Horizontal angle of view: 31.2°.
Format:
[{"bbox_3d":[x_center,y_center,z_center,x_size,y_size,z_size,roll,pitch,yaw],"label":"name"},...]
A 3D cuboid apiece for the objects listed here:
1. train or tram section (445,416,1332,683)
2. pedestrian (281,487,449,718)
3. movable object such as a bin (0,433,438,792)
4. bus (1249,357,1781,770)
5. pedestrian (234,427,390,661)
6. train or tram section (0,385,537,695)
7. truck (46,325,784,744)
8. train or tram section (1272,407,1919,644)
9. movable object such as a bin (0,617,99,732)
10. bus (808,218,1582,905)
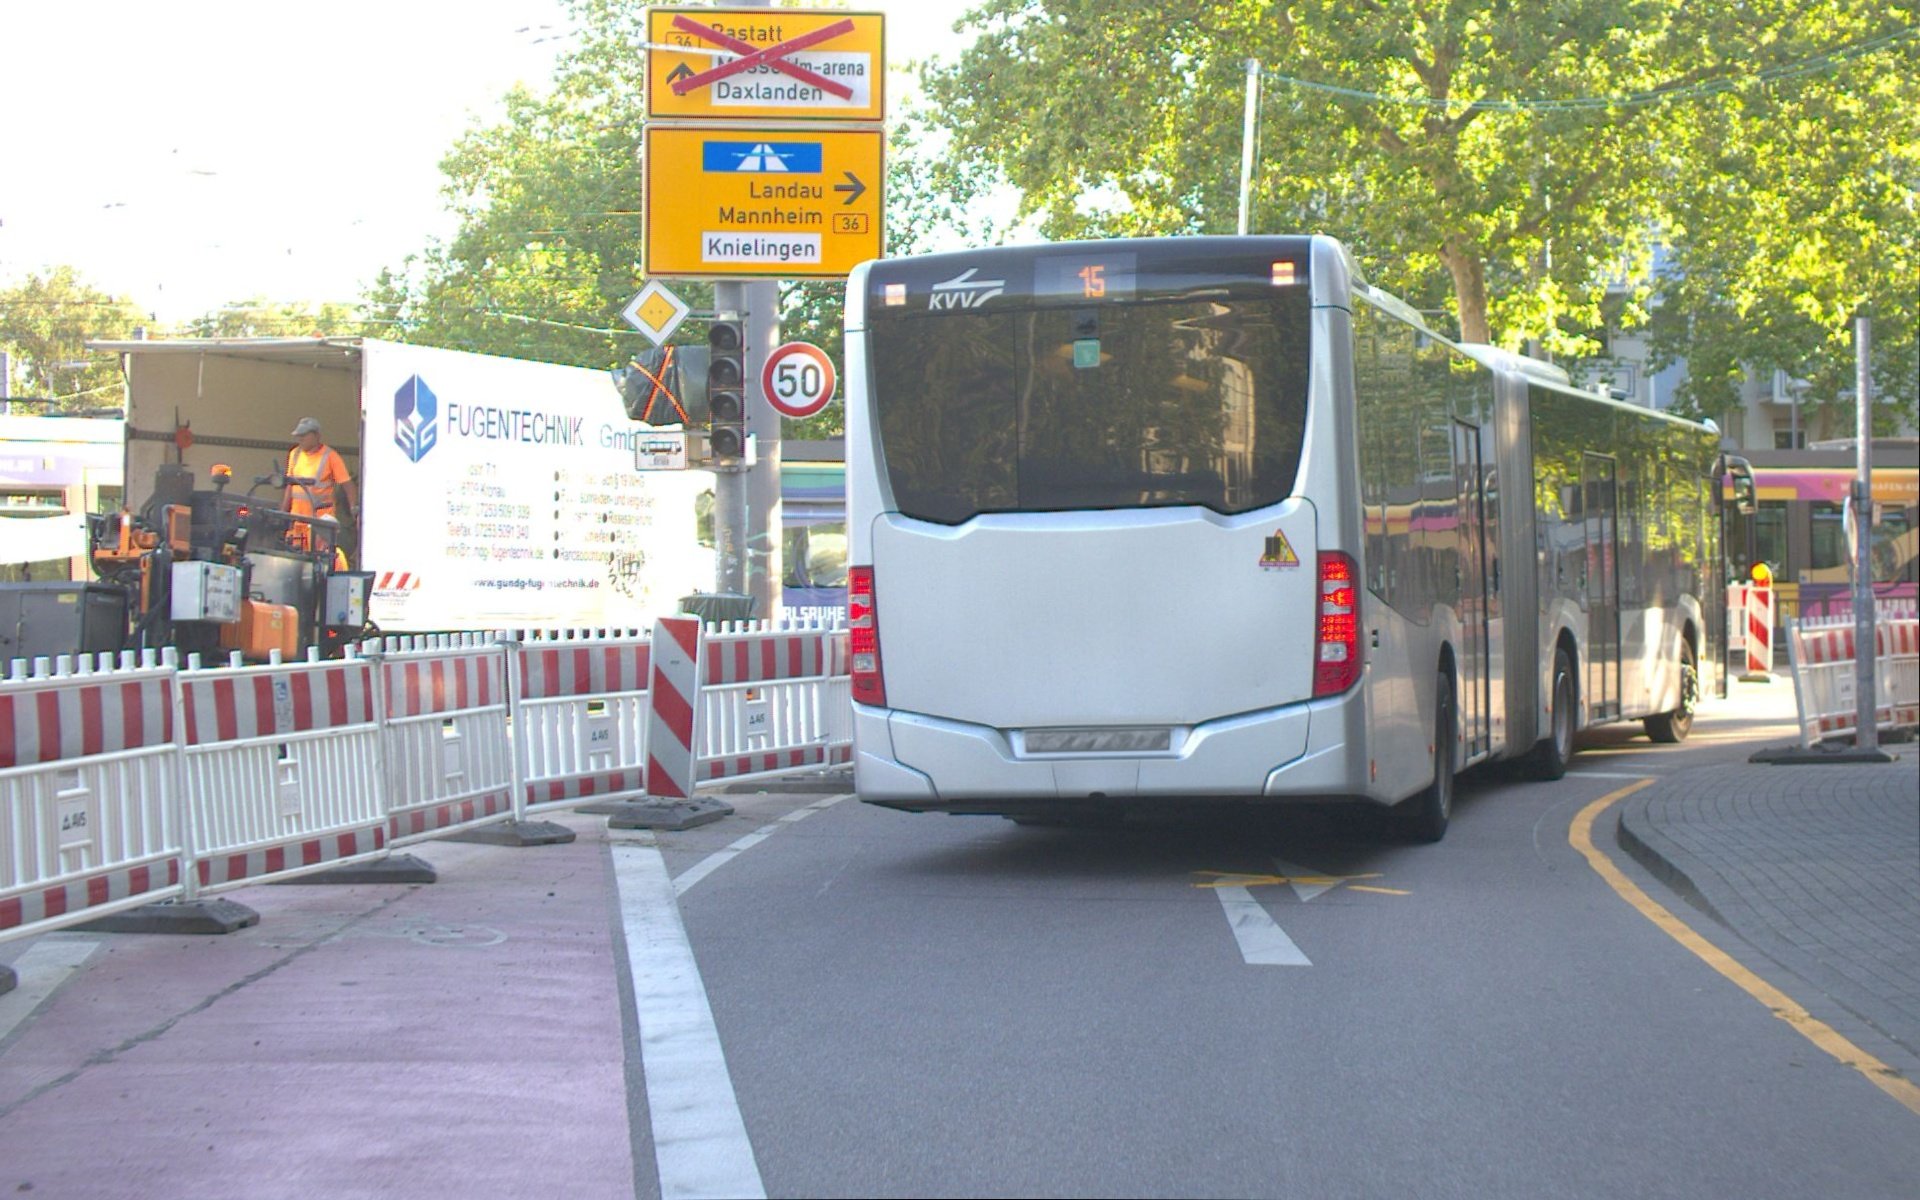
[{"bbox_3d":[-0.845,-0.661,49.500,12.740,3.537,2.738,0,0,-25],"label":"train or tram section"},{"bbox_3d":[-4.711,0.012,27.280,0.973,1.792,1.069,0,1,13],"label":"pedestrian"},{"bbox_3d":[-5.930,0.019,24.321,1.996,2.249,5.202,2,1,22],"label":"movable object such as a bin"},{"bbox_3d":[5.188,-0.333,30.407,2.711,3.096,8.969,0,1,22],"label":"bus"},{"bbox_3d":[-5.654,-0.500,30.038,0.937,2.006,1.000,1,2,21],"label":"pedestrian"},{"bbox_3d":[-10.770,-0.687,41.616,2.855,3.521,13.368,0,0,36],"label":"train or tram section"},{"bbox_3d":[-4.955,-0.617,33.654,2.815,3.529,8.972,0,1,23],"label":"truck"},{"bbox_3d":[11.625,-1.093,53.148,13.286,3.507,2.650,0,0,-7],"label":"train or tram section"},{"bbox_3d":[-7.749,0.603,28.469,0.932,0.914,1.420,0,0,-2],"label":"movable object such as a bin"},{"bbox_3d":[1.986,-0.267,21.177,2.735,3.128,10.696,1,1,15],"label":"bus"}]
